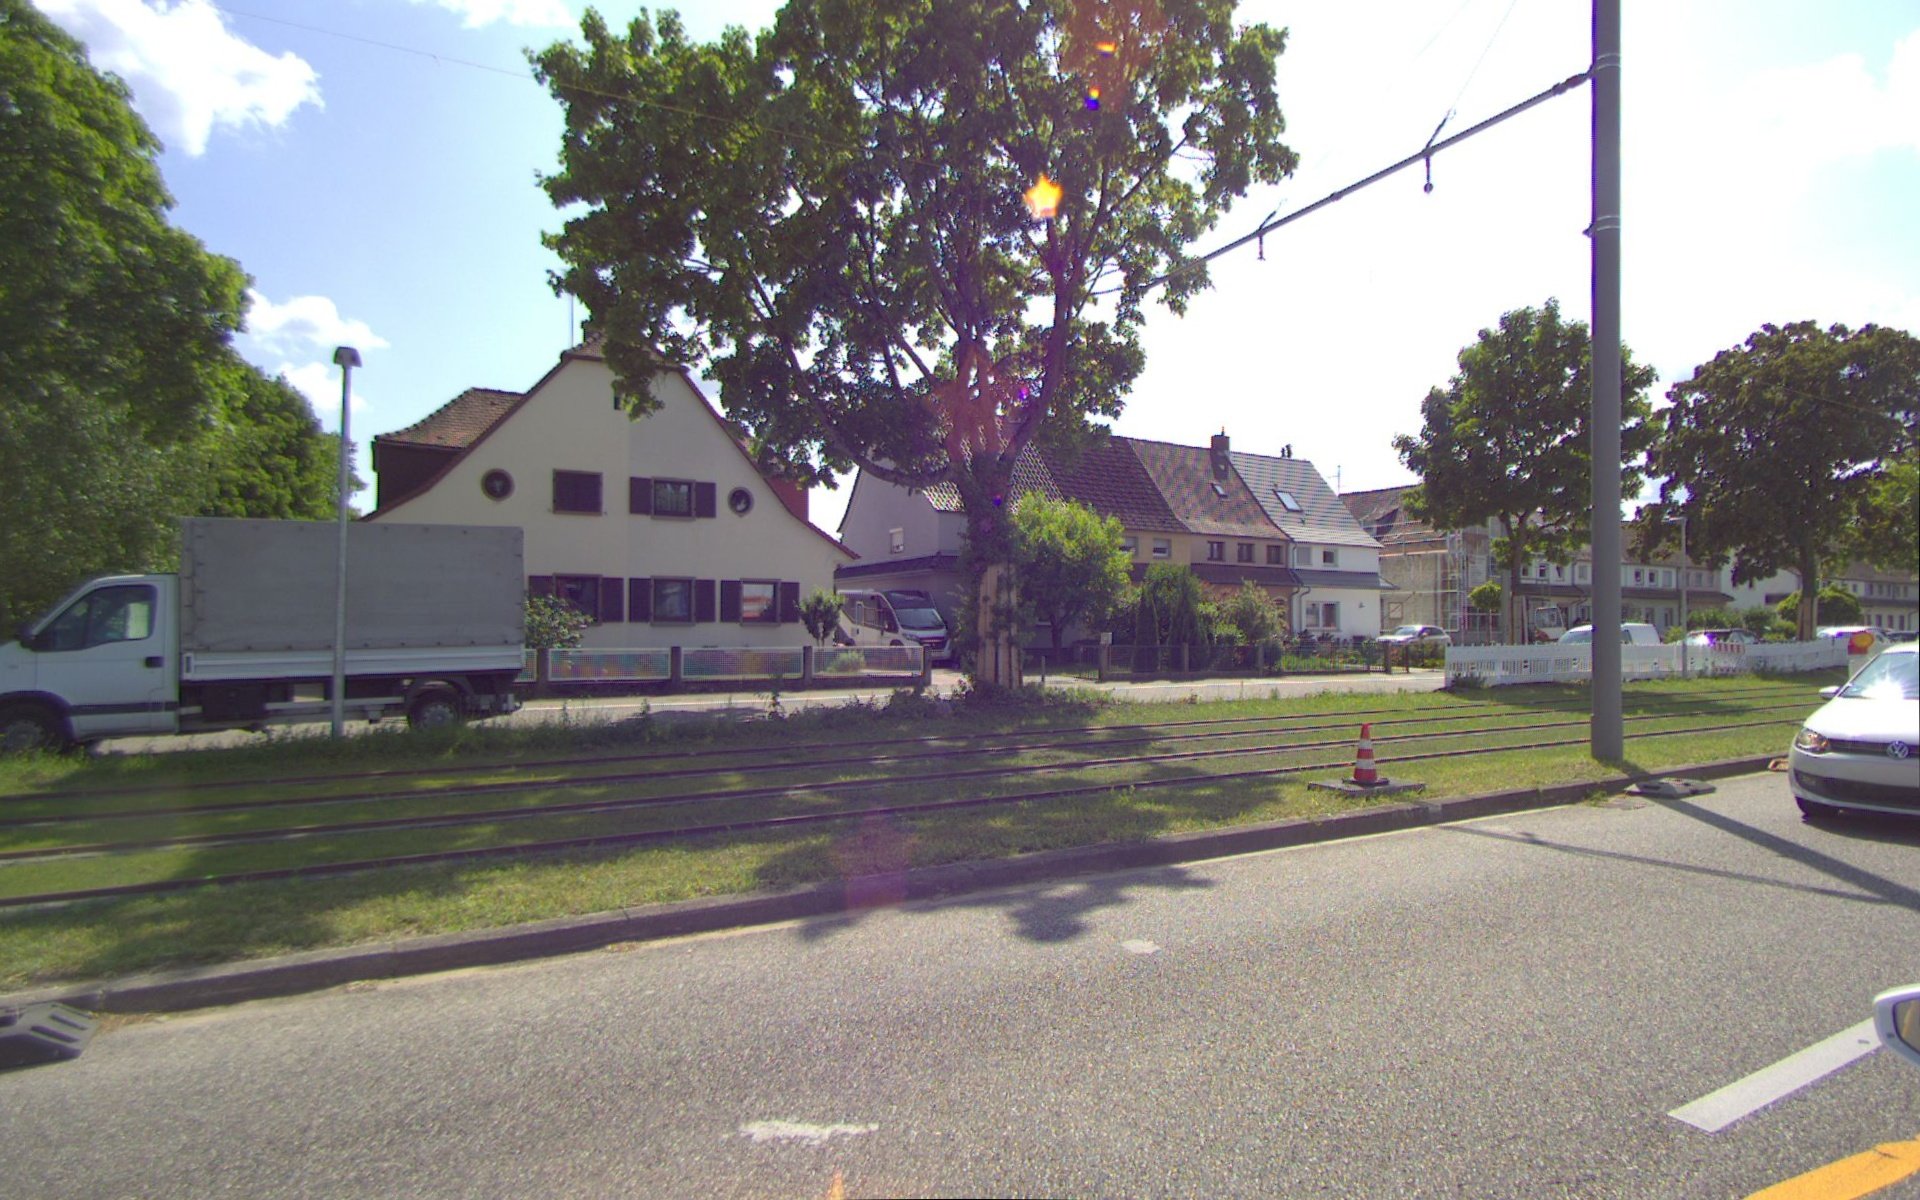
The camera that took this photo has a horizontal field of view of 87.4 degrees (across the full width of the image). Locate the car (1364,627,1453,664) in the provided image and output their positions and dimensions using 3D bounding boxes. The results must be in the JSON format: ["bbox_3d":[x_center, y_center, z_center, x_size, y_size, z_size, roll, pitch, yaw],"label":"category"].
[{"bbox_3d":[19.884,1.990,44.473,3.814,1.614,1.691,1,-2,-30],"label":"car"}]

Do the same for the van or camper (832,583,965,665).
[{"bbox_3d":[-2.355,0.903,36.644,2.224,2.745,5.963,1,-2,-33],"label":"van or camper"}]

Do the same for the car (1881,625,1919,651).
[{"bbox_3d":[66.747,2.680,70.725,4.013,1.762,1.691,1,-2,-30],"label":"car"}]

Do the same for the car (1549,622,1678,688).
[{"bbox_3d":[19.496,1.602,29.954,3.814,1.841,1.691,1,-2,-30],"label":"car"}]

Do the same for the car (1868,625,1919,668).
[{"bbox_3d":[40.384,1.958,42.594,3.814,1.762,1.691,1,-2,-30],"label":"car"}]

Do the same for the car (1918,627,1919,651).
[{"bbox_3d":[72.131,2.844,73.661,4.013,1.762,1.691,1,-2,-30],"label":"car"}]

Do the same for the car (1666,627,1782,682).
[{"bbox_3d":[25.741,1.797,33.821,4.006,1.762,1.691,1,-2,-30],"label":"car"}]

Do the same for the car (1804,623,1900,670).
[{"bbox_3d":[34.976,1.799,39.379,3.814,1.762,1.691,1,-2,-30],"label":"car"}]

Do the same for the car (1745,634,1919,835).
[{"bbox_3d":[8.591,1.006,8.445,4.212,1.432,1.707,1,-2,-30],"label":"car"}]

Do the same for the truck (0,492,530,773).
[{"bbox_3d":[-8.803,0.410,12.928,5.805,3.027,1.994,1,-2,-30],"label":"truck"}]
